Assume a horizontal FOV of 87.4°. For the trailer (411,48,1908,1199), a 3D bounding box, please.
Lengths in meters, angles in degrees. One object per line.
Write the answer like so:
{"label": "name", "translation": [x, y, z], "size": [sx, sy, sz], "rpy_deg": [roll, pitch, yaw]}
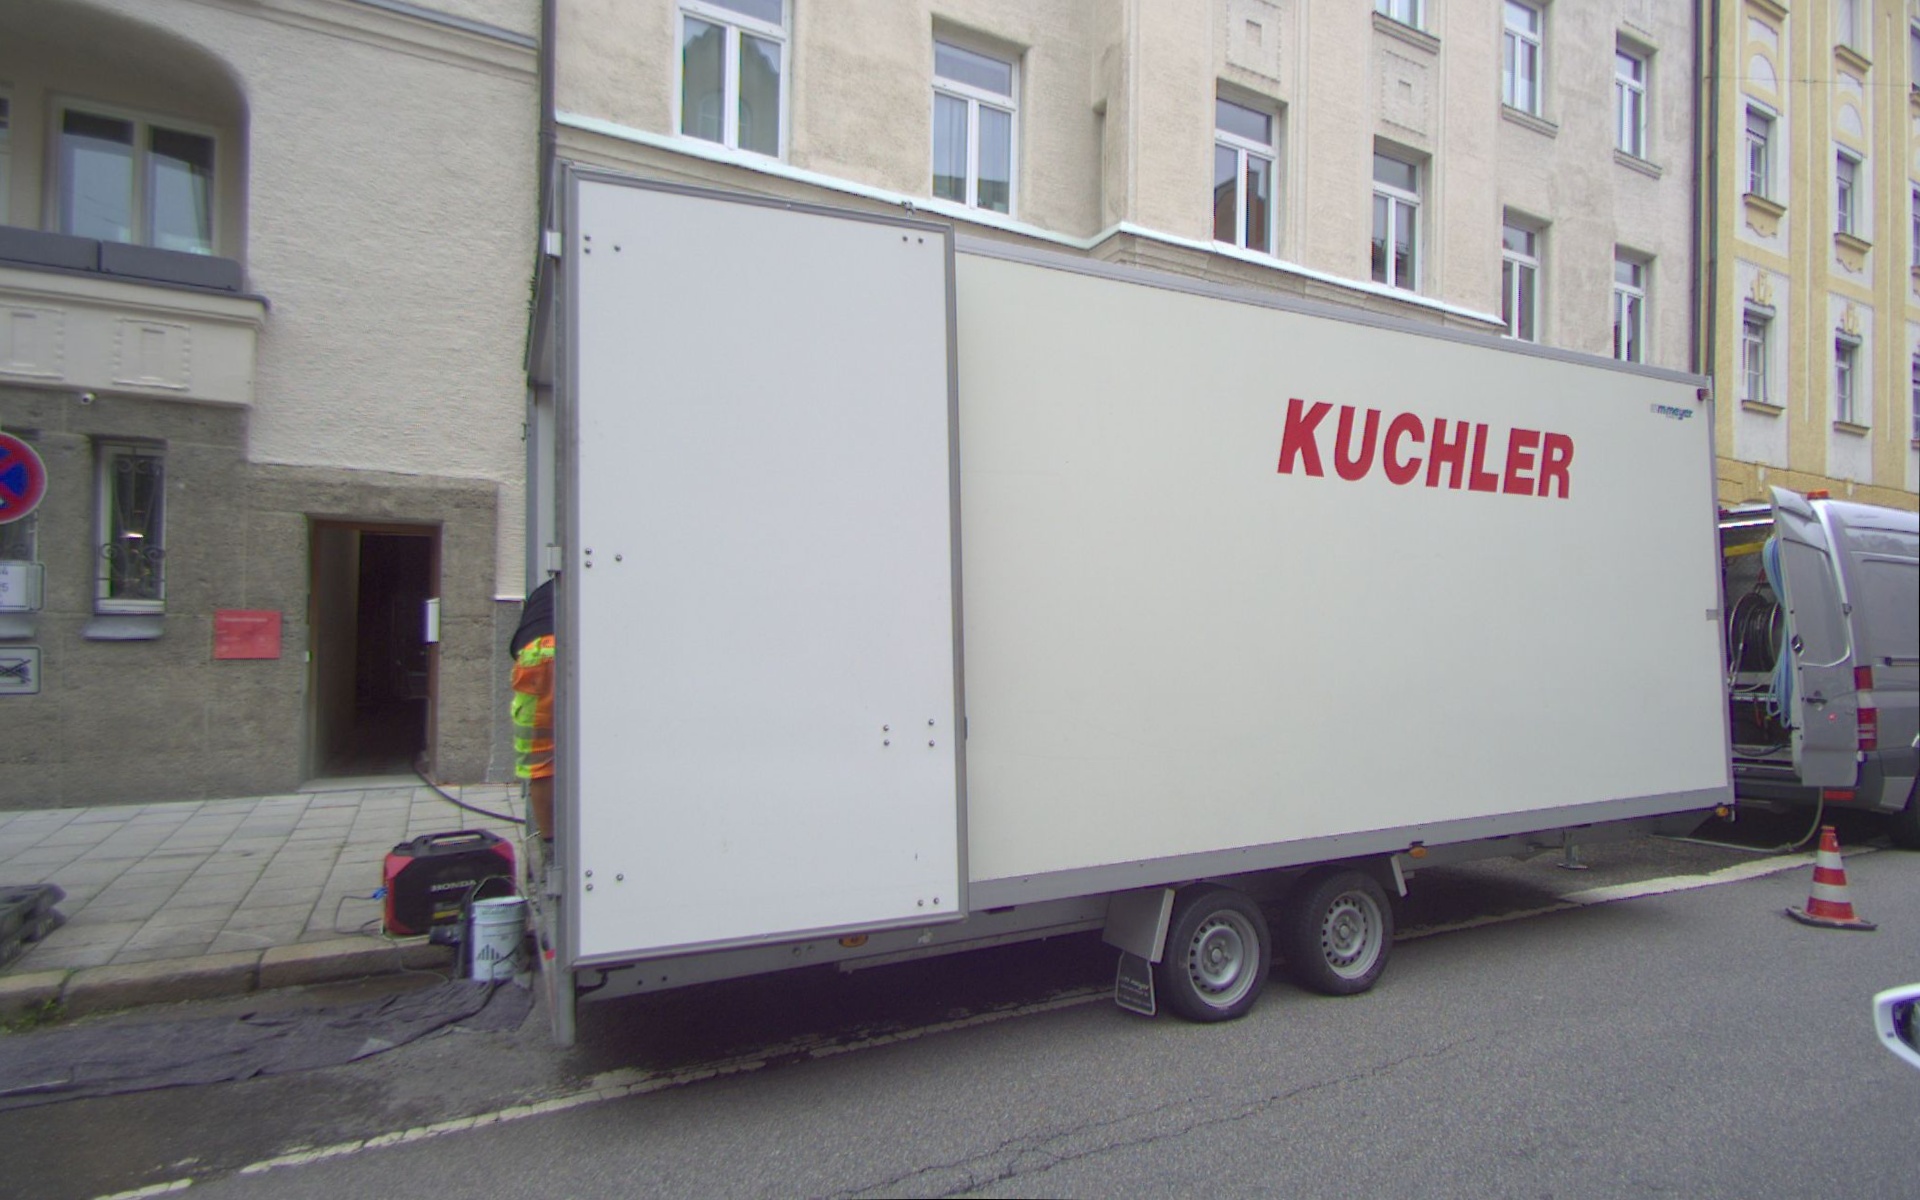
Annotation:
{"label": "trailer", "translation": [1.419, 0.211, 5.440], "size": [7.498, 3.007, 2.796], "rpy_deg": [1, -4, -26]}

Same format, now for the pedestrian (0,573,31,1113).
{"label": "pedestrian", "translation": [-3.314, 0.717, 3.066], "size": [0.633, 1.601, 0.754], "rpy_deg": [3, -3, -45]}

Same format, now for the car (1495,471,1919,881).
{"label": "car", "translation": [7.923, 0.646, 8.967], "size": [6.791, 2.620, 2.049], "rpy_deg": [2, -6, -29]}

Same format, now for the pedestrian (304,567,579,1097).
{"label": "pedestrian", "translation": [-1.883, 0.740, 3.646], "size": [0.753, 1.652, 0.633], "rpy_deg": [-1, -3, 43]}
